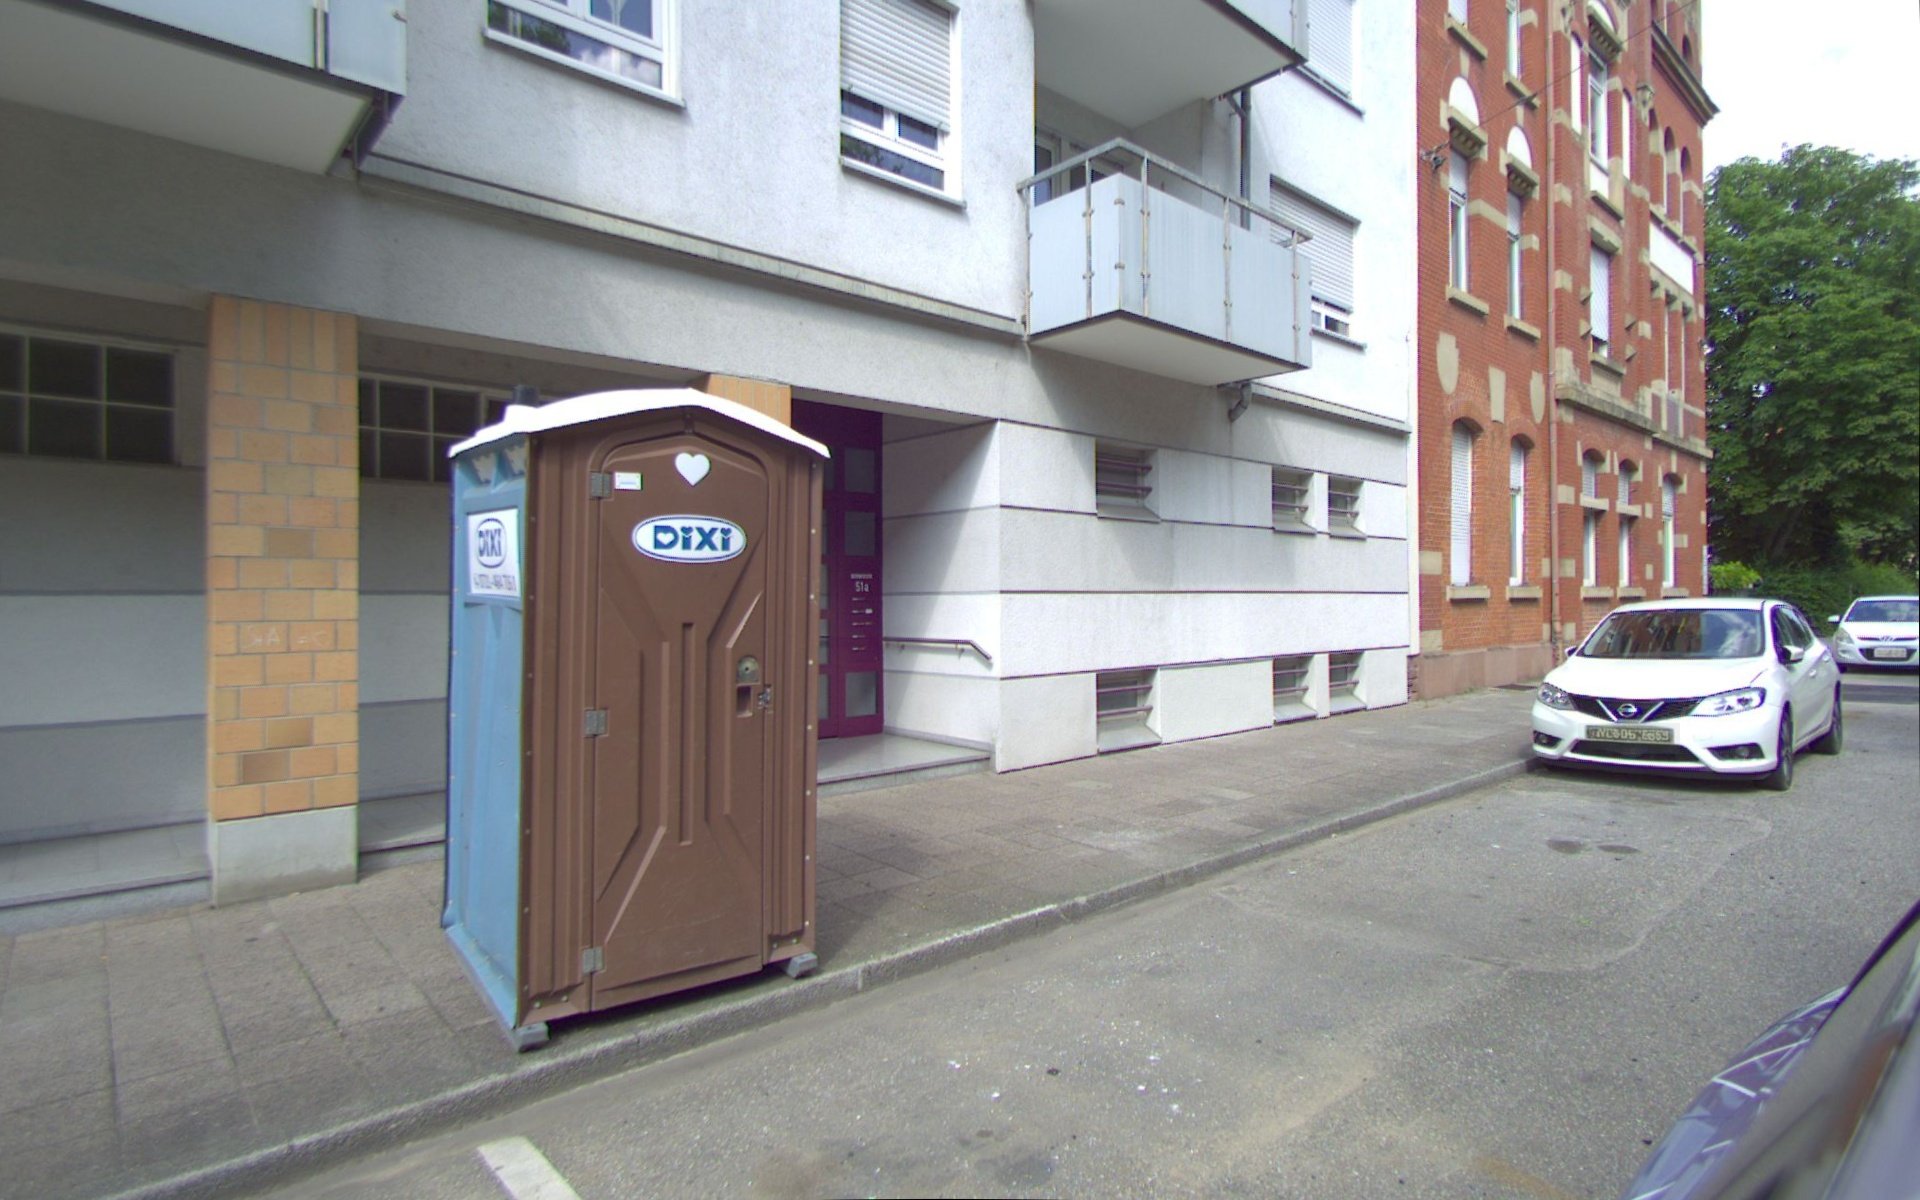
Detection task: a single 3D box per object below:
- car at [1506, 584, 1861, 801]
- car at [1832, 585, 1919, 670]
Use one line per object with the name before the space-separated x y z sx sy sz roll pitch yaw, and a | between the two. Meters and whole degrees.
car | 6.728 0.661 9.257 3.971 1.549 1.799 0 -1 -42
car | 18.728 0.483 19.956 3.971 1.549 1.799 -1 -1 -42
